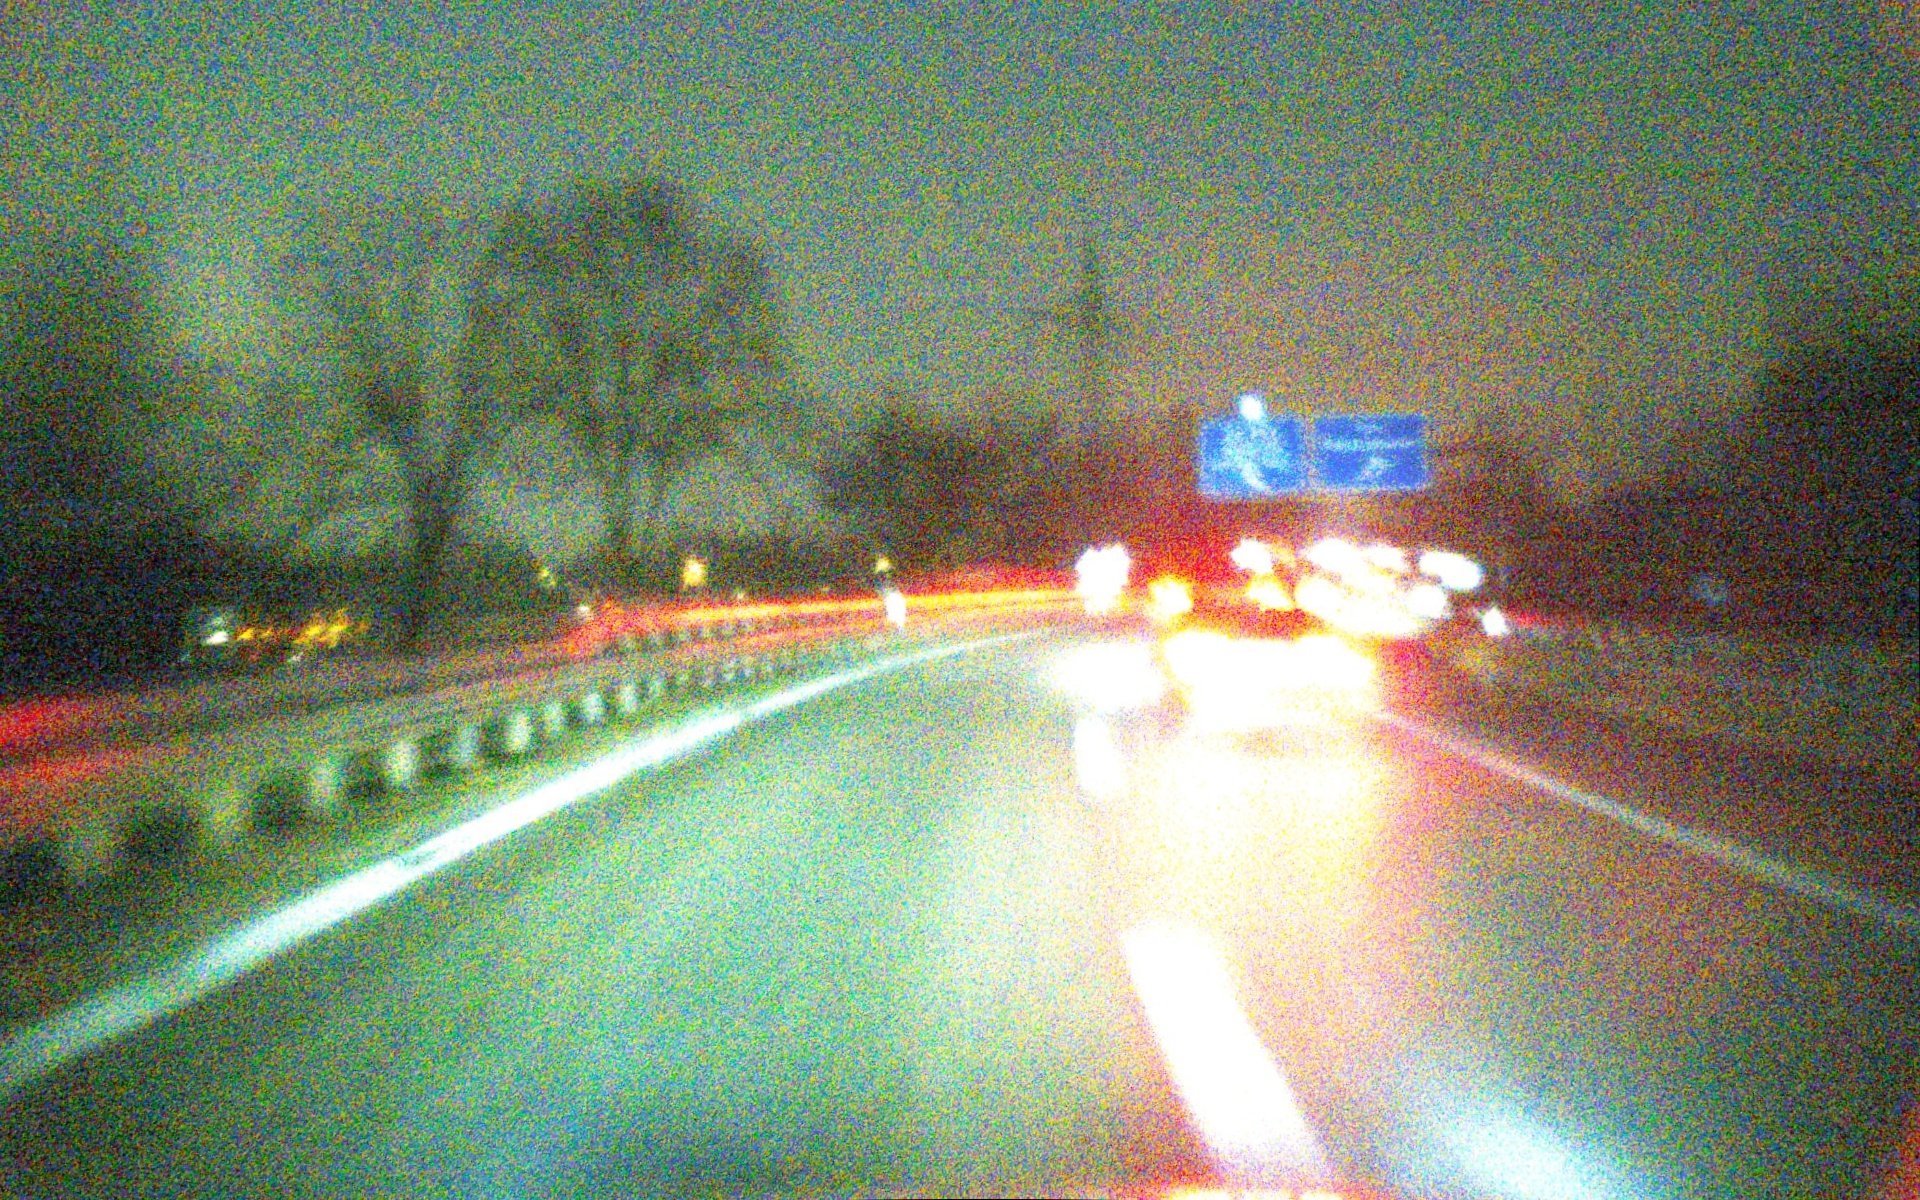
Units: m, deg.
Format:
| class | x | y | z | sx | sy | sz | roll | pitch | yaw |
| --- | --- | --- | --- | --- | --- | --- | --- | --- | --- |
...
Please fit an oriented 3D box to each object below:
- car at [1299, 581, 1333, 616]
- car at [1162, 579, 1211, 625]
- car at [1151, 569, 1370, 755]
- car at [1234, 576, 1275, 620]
| class | x | y | z | sx | sy | sz | roll | pitch | yaw |
| --- | --- | --- | --- | --- | --- | --- | --- | --- | --- |
| car | 21.556 | -0.108 | 100.125 | 1.855 | 2.033 | 4.049 | 0 | 0 | 14 |
| car | 8.868 | 0.089 | 64.900 | 1.855 | 1.751 | 4.048 | 0 | 0 | 7 |
| car | 3.038 | 0.555 | 17.485 | 1.821 | 1.676 | 4.071 | 2 | 1 | 4 |
| car | 14.230 | -0.087 | 79.767 | 1.855 | 2.076 | 4.049 | 0 | 0 | 11 |
